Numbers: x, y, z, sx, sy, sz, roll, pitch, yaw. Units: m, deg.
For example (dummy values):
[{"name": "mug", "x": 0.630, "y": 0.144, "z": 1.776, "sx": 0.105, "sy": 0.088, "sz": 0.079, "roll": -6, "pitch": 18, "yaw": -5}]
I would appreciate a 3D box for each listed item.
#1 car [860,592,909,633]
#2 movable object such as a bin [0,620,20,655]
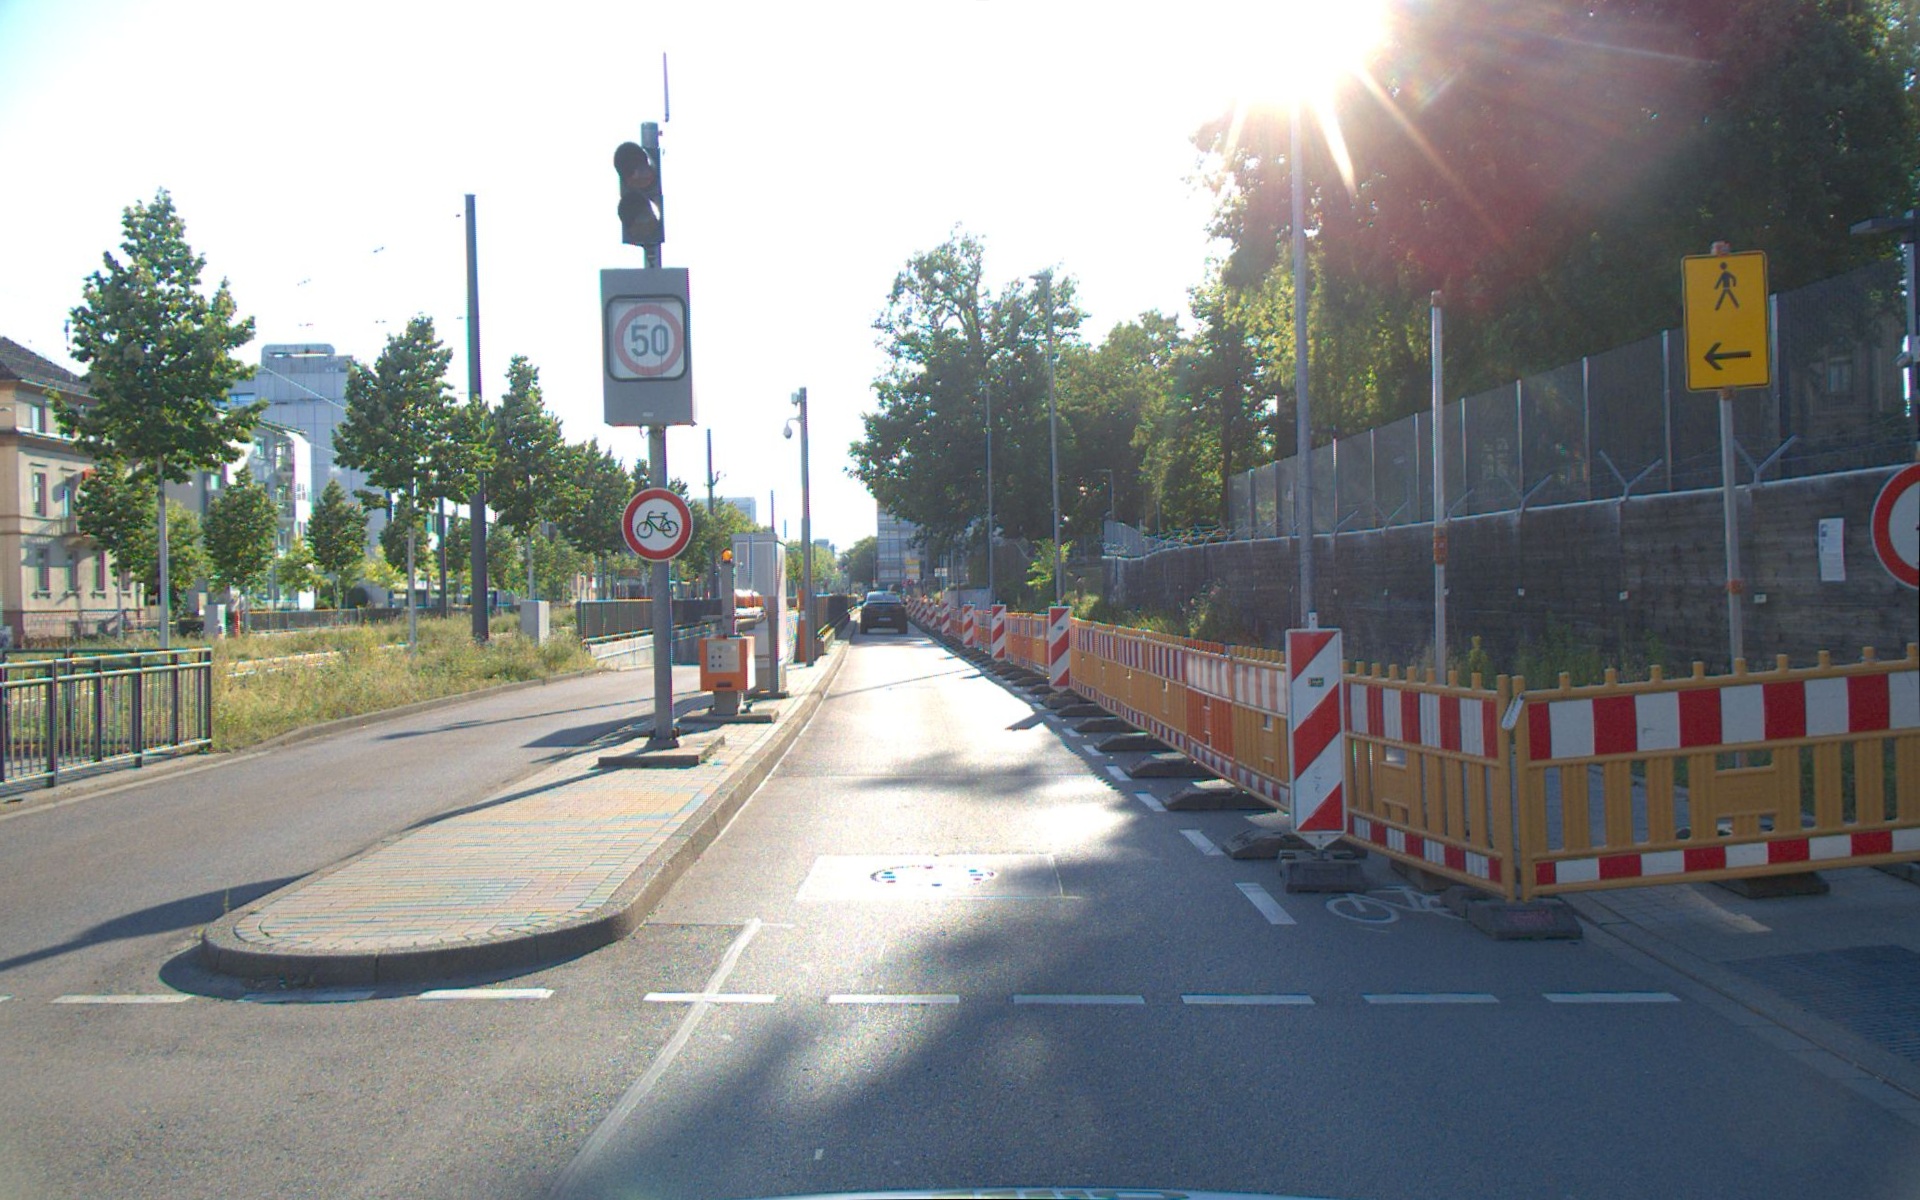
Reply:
[{"name": "car", "x": -3.167, "y": 0.516, "z": 69.778, "sx": 1.965, "sy": 1.688, "sz": 3.998, "roll": 0, "pitch": 0, "yaw": -2}, {"name": "movable object such as a bin", "x": -40.298, "y": 1.585, "z": 69.287, "sx": 1.181, "sy": 1.454, "sz": 1.079, "roll": -2, "pitch": 0, "yaw": -3}]
